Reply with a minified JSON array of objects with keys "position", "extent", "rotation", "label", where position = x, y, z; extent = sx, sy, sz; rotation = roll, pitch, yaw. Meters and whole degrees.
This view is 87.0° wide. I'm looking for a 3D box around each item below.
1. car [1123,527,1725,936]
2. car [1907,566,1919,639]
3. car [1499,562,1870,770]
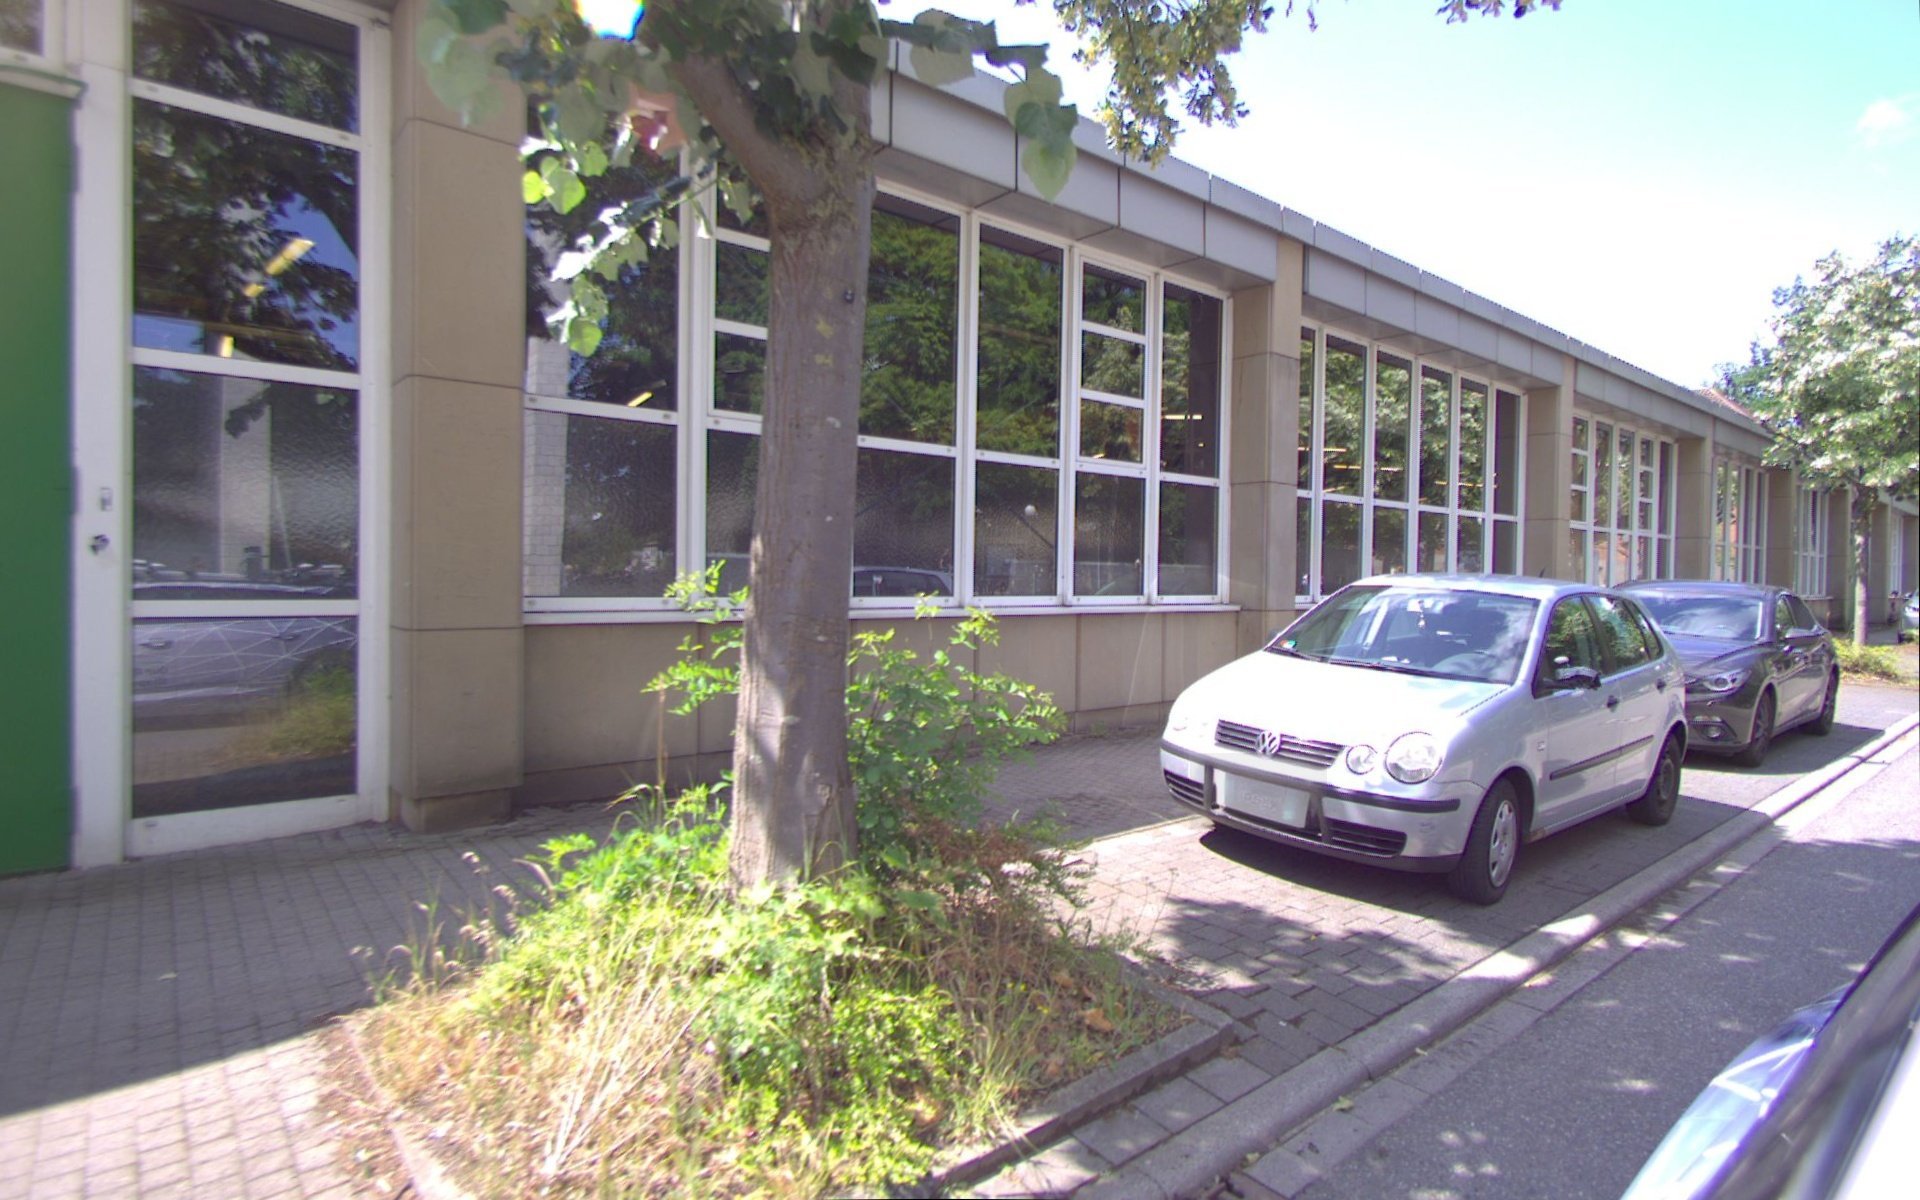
[{"position":[2.761,0.460,5.665],"extent":[3.712,1.558,1.620],"rotation":[-1,1,-40],"label":"car"},{"position":[24.285,0.060,24.307],"extent":[4.505,1.684,1.825],"rotation":[-1,3,-42],"label":"car"},{"position":[6.954,0.432,9.533],"extent":[4.383,1.494,1.785],"rotation":[-1,3,-40],"label":"car"}]
